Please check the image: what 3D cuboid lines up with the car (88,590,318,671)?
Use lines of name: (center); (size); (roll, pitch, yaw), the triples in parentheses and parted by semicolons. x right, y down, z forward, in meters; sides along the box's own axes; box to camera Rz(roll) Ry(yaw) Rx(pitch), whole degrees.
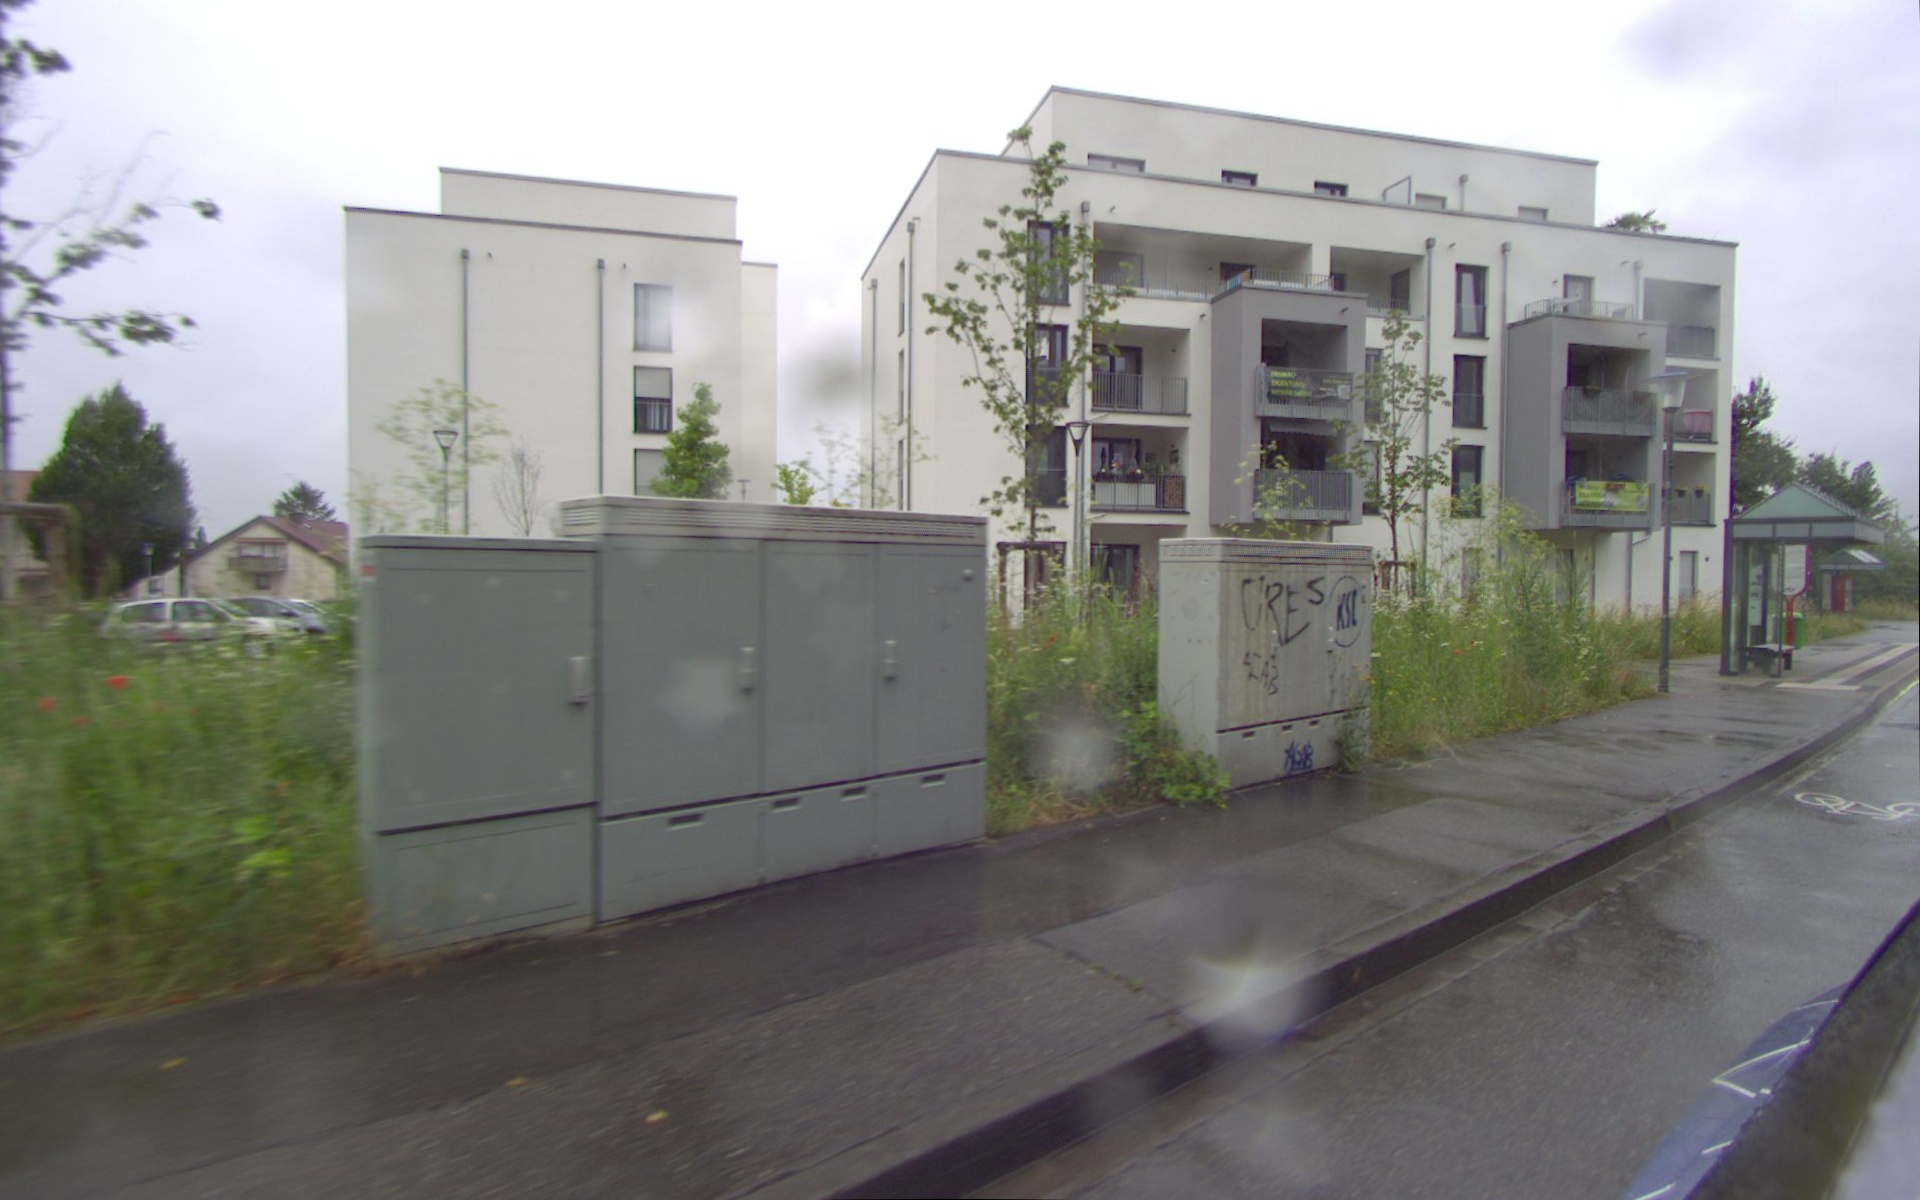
car: (-16.437, 0.620, 22.194); (3.630, 1.459, 1.725); (-3, 2, -19)
